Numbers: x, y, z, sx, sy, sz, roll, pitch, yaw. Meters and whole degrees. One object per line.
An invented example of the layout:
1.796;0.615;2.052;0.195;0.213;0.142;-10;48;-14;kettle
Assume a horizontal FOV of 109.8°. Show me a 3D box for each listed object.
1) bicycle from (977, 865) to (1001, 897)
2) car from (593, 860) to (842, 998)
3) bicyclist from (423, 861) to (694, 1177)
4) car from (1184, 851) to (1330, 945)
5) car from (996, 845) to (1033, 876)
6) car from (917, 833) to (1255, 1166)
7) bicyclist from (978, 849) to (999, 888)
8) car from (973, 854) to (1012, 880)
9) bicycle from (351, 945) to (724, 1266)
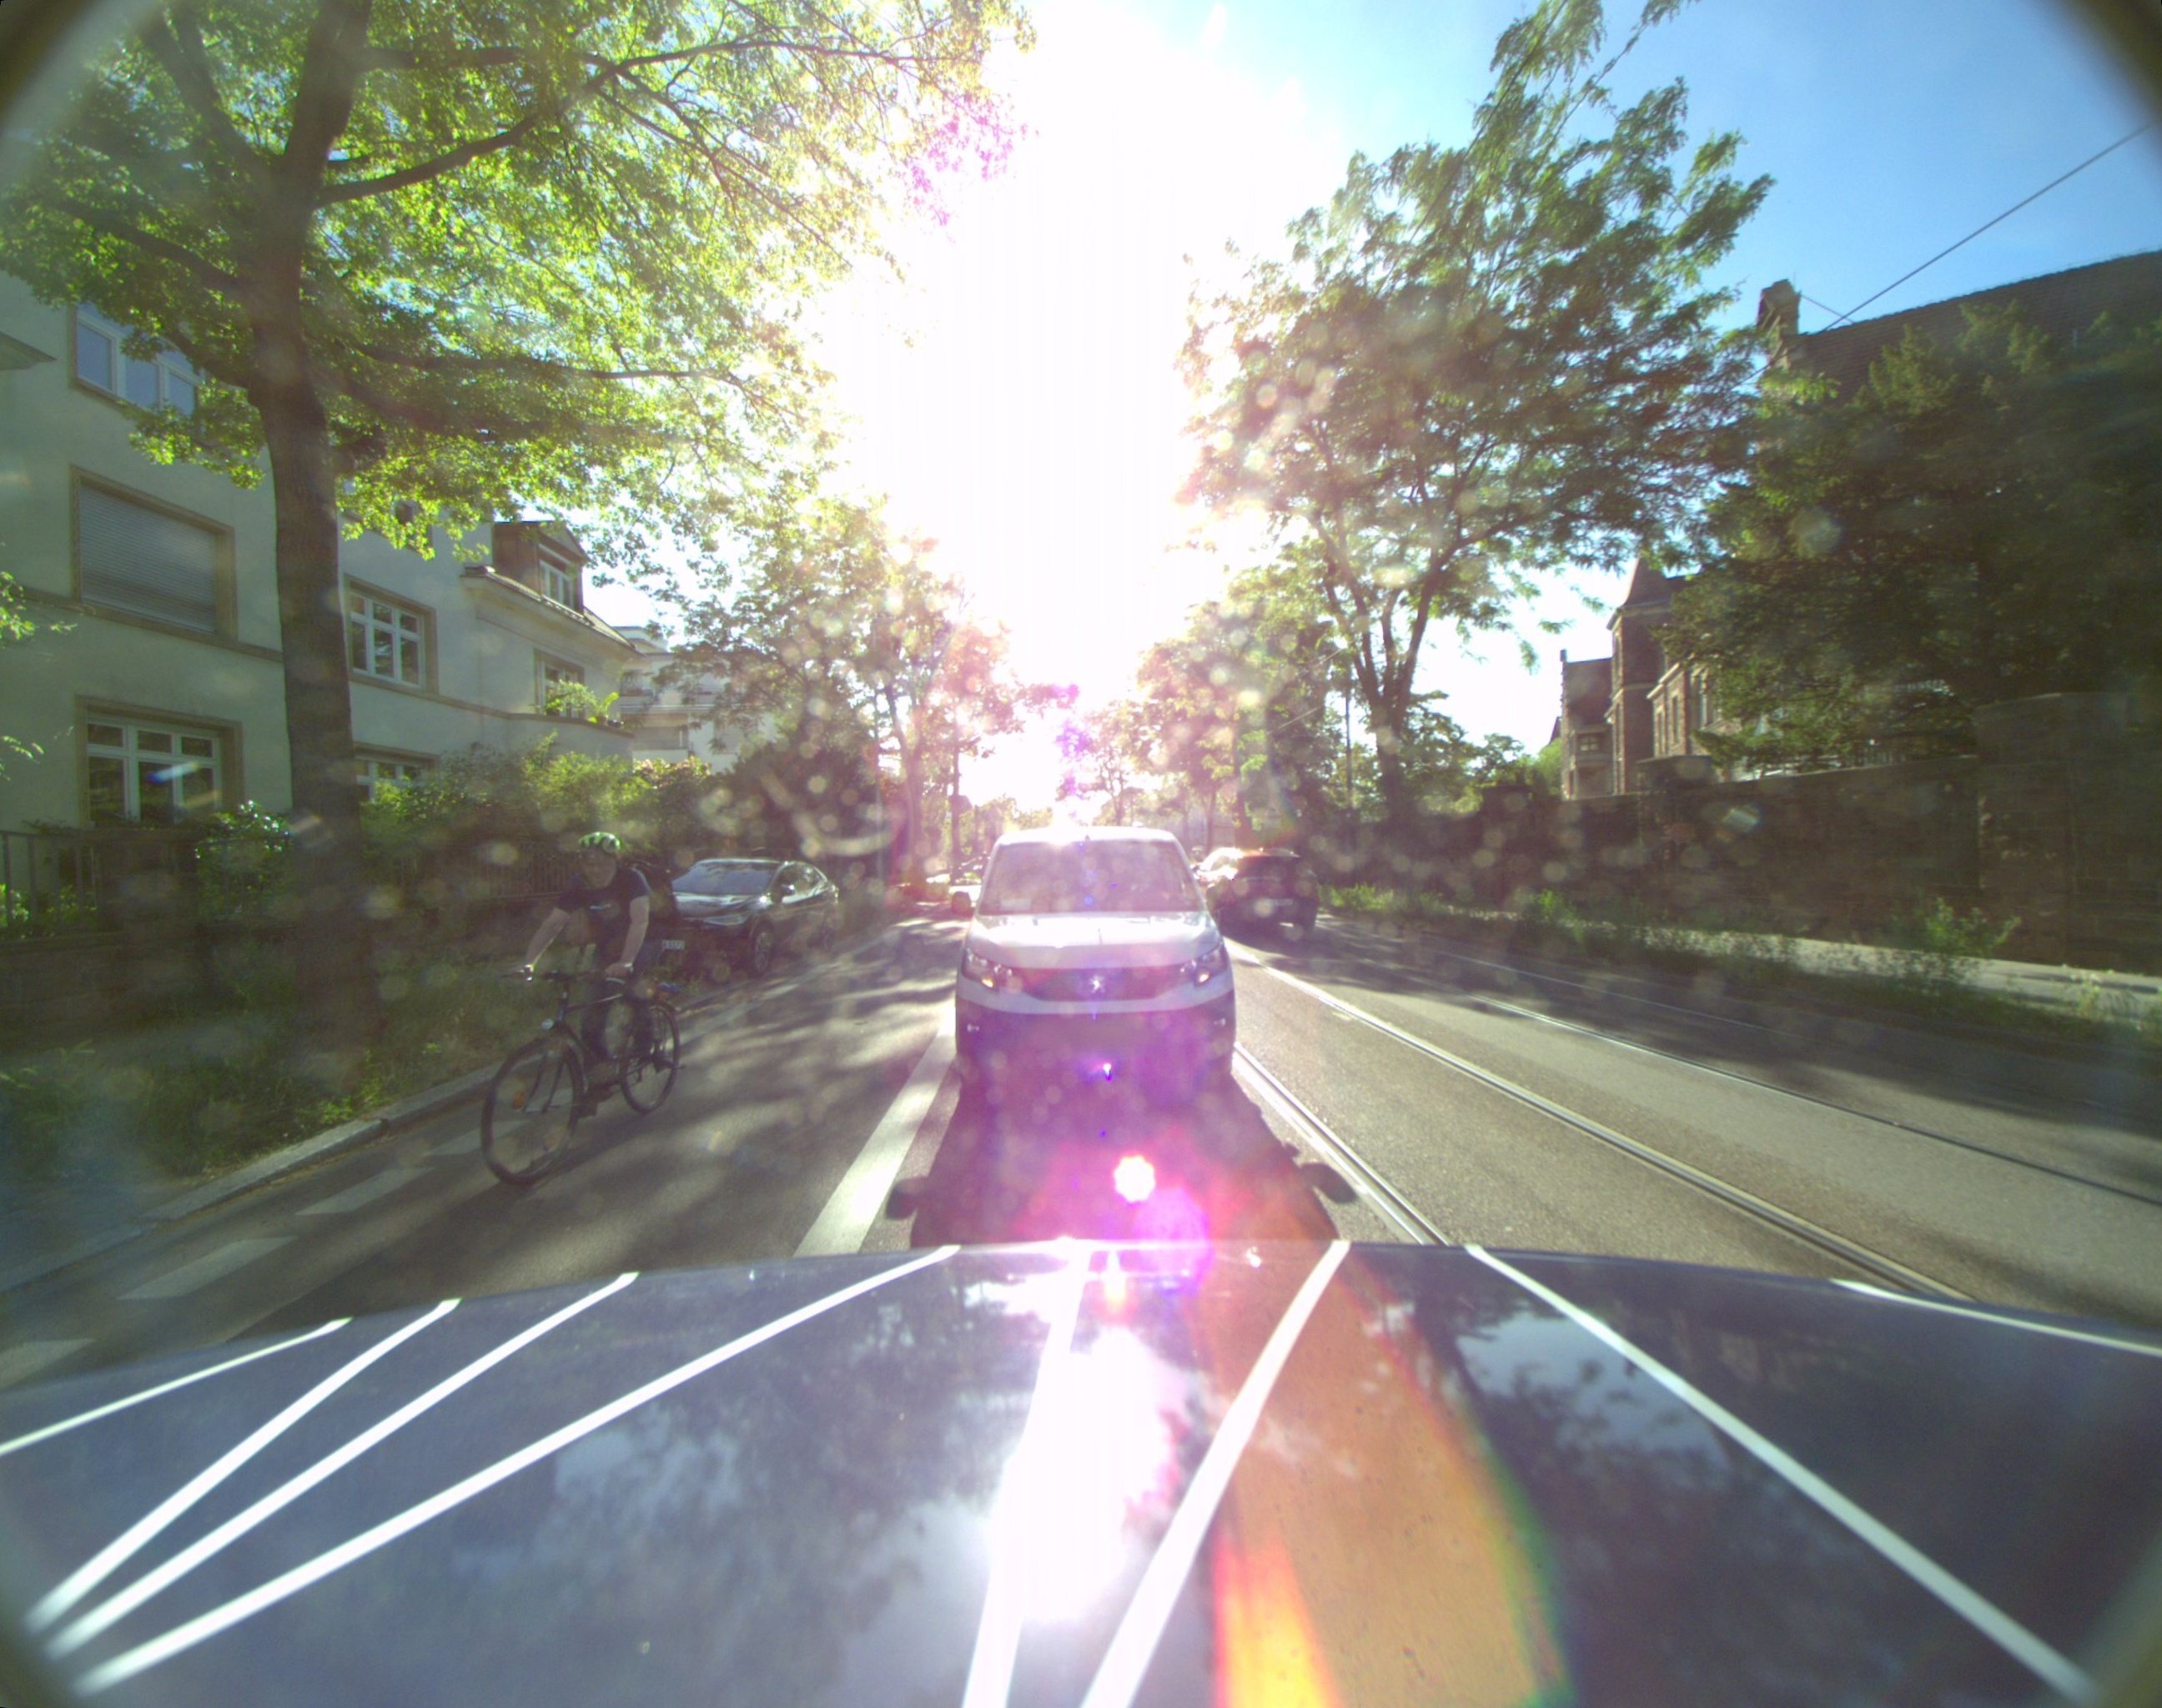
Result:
-3.546;1.024;29.412;0.644;1.137;1.815;-1;0;1;bicycle
-5.150;0.944;11.456;1.743;1.597;4.091;2;0;0;car
-2.789;0.802;4.203;0.645;1.479;1.115;-2;1;1;bicyclist
3.400;0.769;15.582;1.823;1.597;4.358;-2;0;-2;car
-4.494;0.429;51.919;1.998;2.002;4.583;-2;0;1;car
0.048;0.784;6.525;1.793;1.770;4.786;-2;0;0;car
-3.562;0.544;29.397;0.623;1.479;1.115;-2;1;1;bicyclist
-5.247;0.751;45.453;1.787;1.443;4.000;-2;0;1;car
-2.774;1.192;4.203;0.644;1.137;1.902;-1;0;1;bicycle
